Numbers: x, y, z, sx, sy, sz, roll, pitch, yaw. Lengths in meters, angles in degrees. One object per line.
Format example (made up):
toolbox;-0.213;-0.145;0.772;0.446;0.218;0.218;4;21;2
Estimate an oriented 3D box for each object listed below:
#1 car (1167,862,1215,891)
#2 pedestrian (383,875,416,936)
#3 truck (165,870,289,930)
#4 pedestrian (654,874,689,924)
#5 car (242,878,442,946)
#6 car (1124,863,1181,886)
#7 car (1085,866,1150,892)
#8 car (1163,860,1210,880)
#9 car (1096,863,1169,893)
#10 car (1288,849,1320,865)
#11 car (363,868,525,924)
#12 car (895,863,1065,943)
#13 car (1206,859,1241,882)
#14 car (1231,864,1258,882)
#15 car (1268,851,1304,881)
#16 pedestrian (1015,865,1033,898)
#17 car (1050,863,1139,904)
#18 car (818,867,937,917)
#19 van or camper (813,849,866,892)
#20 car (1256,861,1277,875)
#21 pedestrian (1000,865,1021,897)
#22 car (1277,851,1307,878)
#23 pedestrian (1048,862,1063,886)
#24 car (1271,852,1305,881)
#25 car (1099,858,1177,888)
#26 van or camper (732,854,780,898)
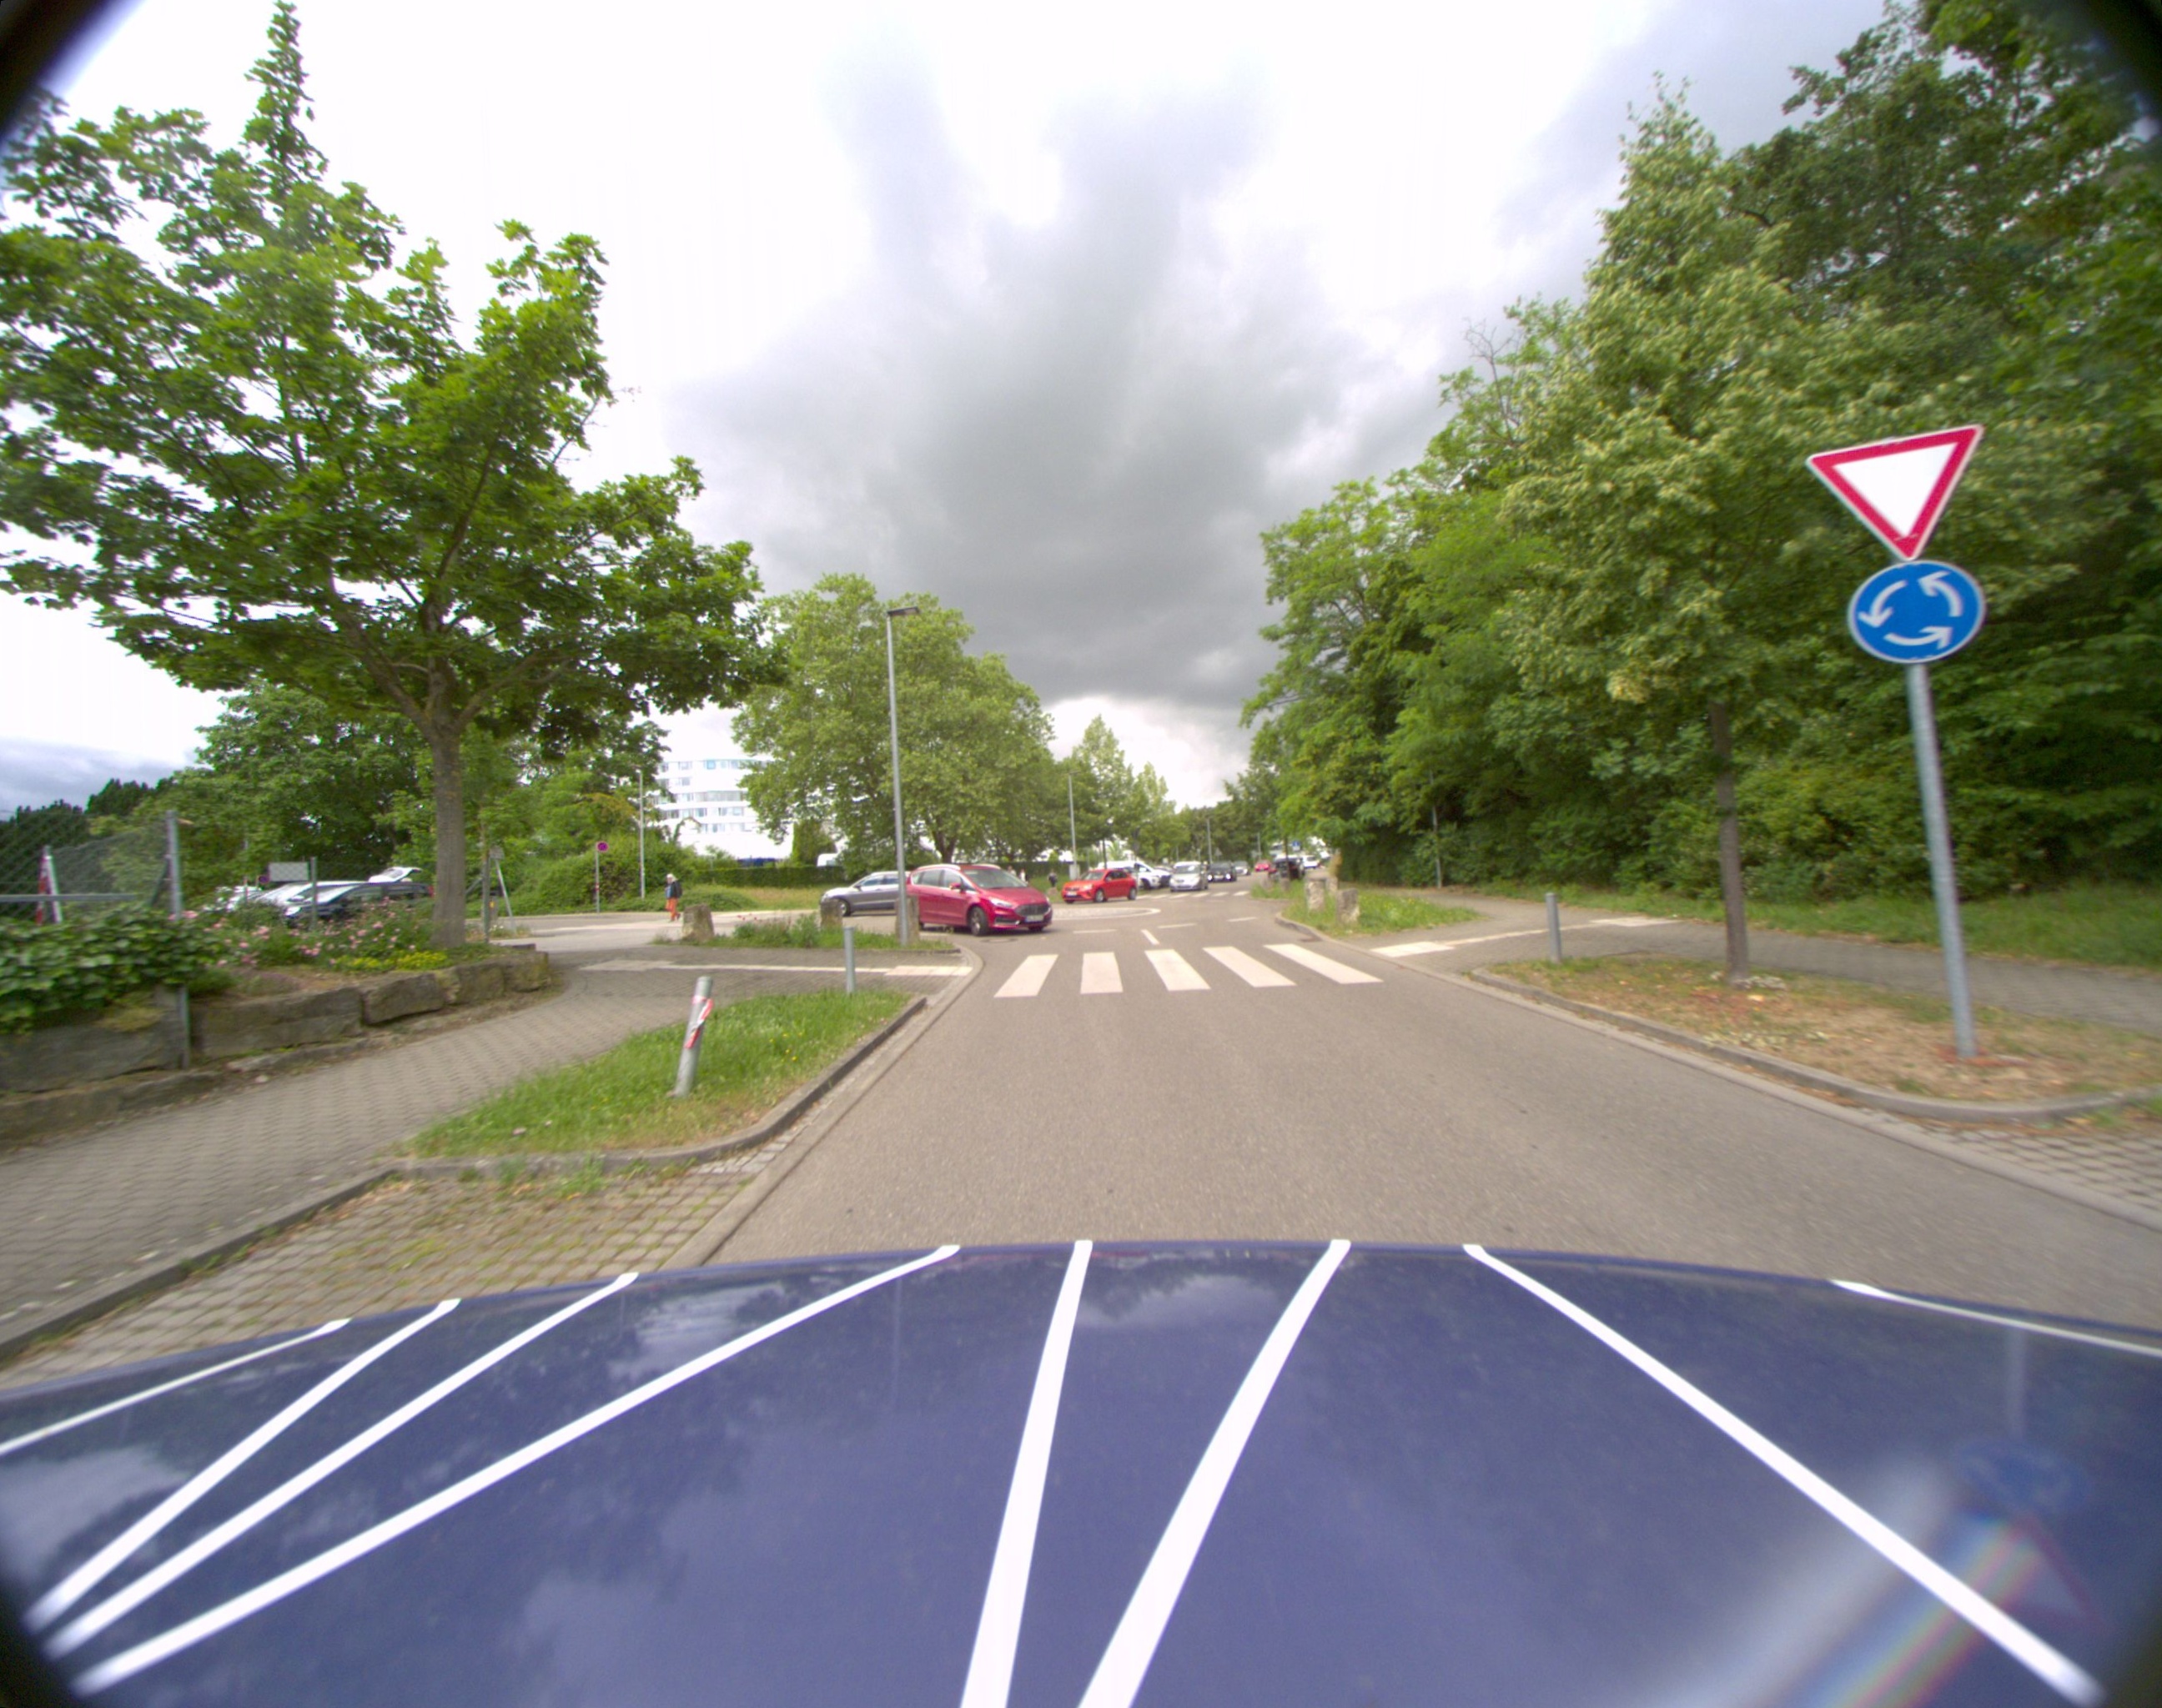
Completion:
car;6.483;1.308;44.415;1.756;1.506;4.007;-4;-2;22
pedestrian;-20.532;1.542;22.898;0.582;1.801;0.485;-4;-1;25
truck;-42.866;2.293;38.125;5.796;2.590;2.071;-4;-2;20
pedestrian;-14.045;1.532;26.079;0.840;1.655;0.614;-1;0;-3
car;-19.982;1.529;20.727;1.501;1.467;3.531;-4;0;24
car;5.224;1.508;55.265;3.829;1.511;1.914;-2;0;17
car;2.207;1.459;45.296;3.516;1.452;1.741;-2;-1;17
car;9.142;1.386;65.773;3.674;1.637;1.854;-3;-1;19
car;3.246;1.478;47.463;4.156;1.592;1.741;-4;-2;16
car;28.345;0.394;96.553;1.674;1.630;3.995;-3;-2;-22
car;-21.034;1.351;25.263;1.569;1.649;3.784;-2;-1;24
car;-2.594;1.133;18.584;1.984;1.635;4.524;-3;0;-39
car;10.825;1.213;57.465;1.756;1.606;4.007;-4;-2;22
car;16.171;1.856;75.028;1.756;1.606;4.007;-4;-2;22
car;11.974;0.685;44.221;1.692;1.456;4.463;-7;-3;17
pedestrian;-2.993;1.451;40.039;0.689;1.646;0.601;-4;-1;16
car;0.655;1.245;33.016;1.756;1.506;4.008;-5;-2;36
car;-7.381;1.343;27.872;4.010;1.608;1.721;-2;0;-10
van or camper;-17.256;1.234;54.162;2.118;2.781;4.470;-3;-2;-36
car;23.005;1.730;94.182;1.756;1.606;4.007;-4;-2;22
pedestrian;-3.747;1.442;40.278;0.870;1.646;0.594;-4;-1;16
car;15.336;0.754;55.034;1.810;1.654;4.443;-7;-3;17
pedestrian;-1.639;1.276;48.469;0.677;1.510;0.707;-4;-1;15
car;13.506;0.782;49.475;1.802;1.605;4.484;-7;-2;17
car;3.749;1.253;50.030;4.780;1.821;1.845;-2;0;15
van or camper;-23.224;1.604;54.221;2.118;2.781;4.470;-3;-2;-36
